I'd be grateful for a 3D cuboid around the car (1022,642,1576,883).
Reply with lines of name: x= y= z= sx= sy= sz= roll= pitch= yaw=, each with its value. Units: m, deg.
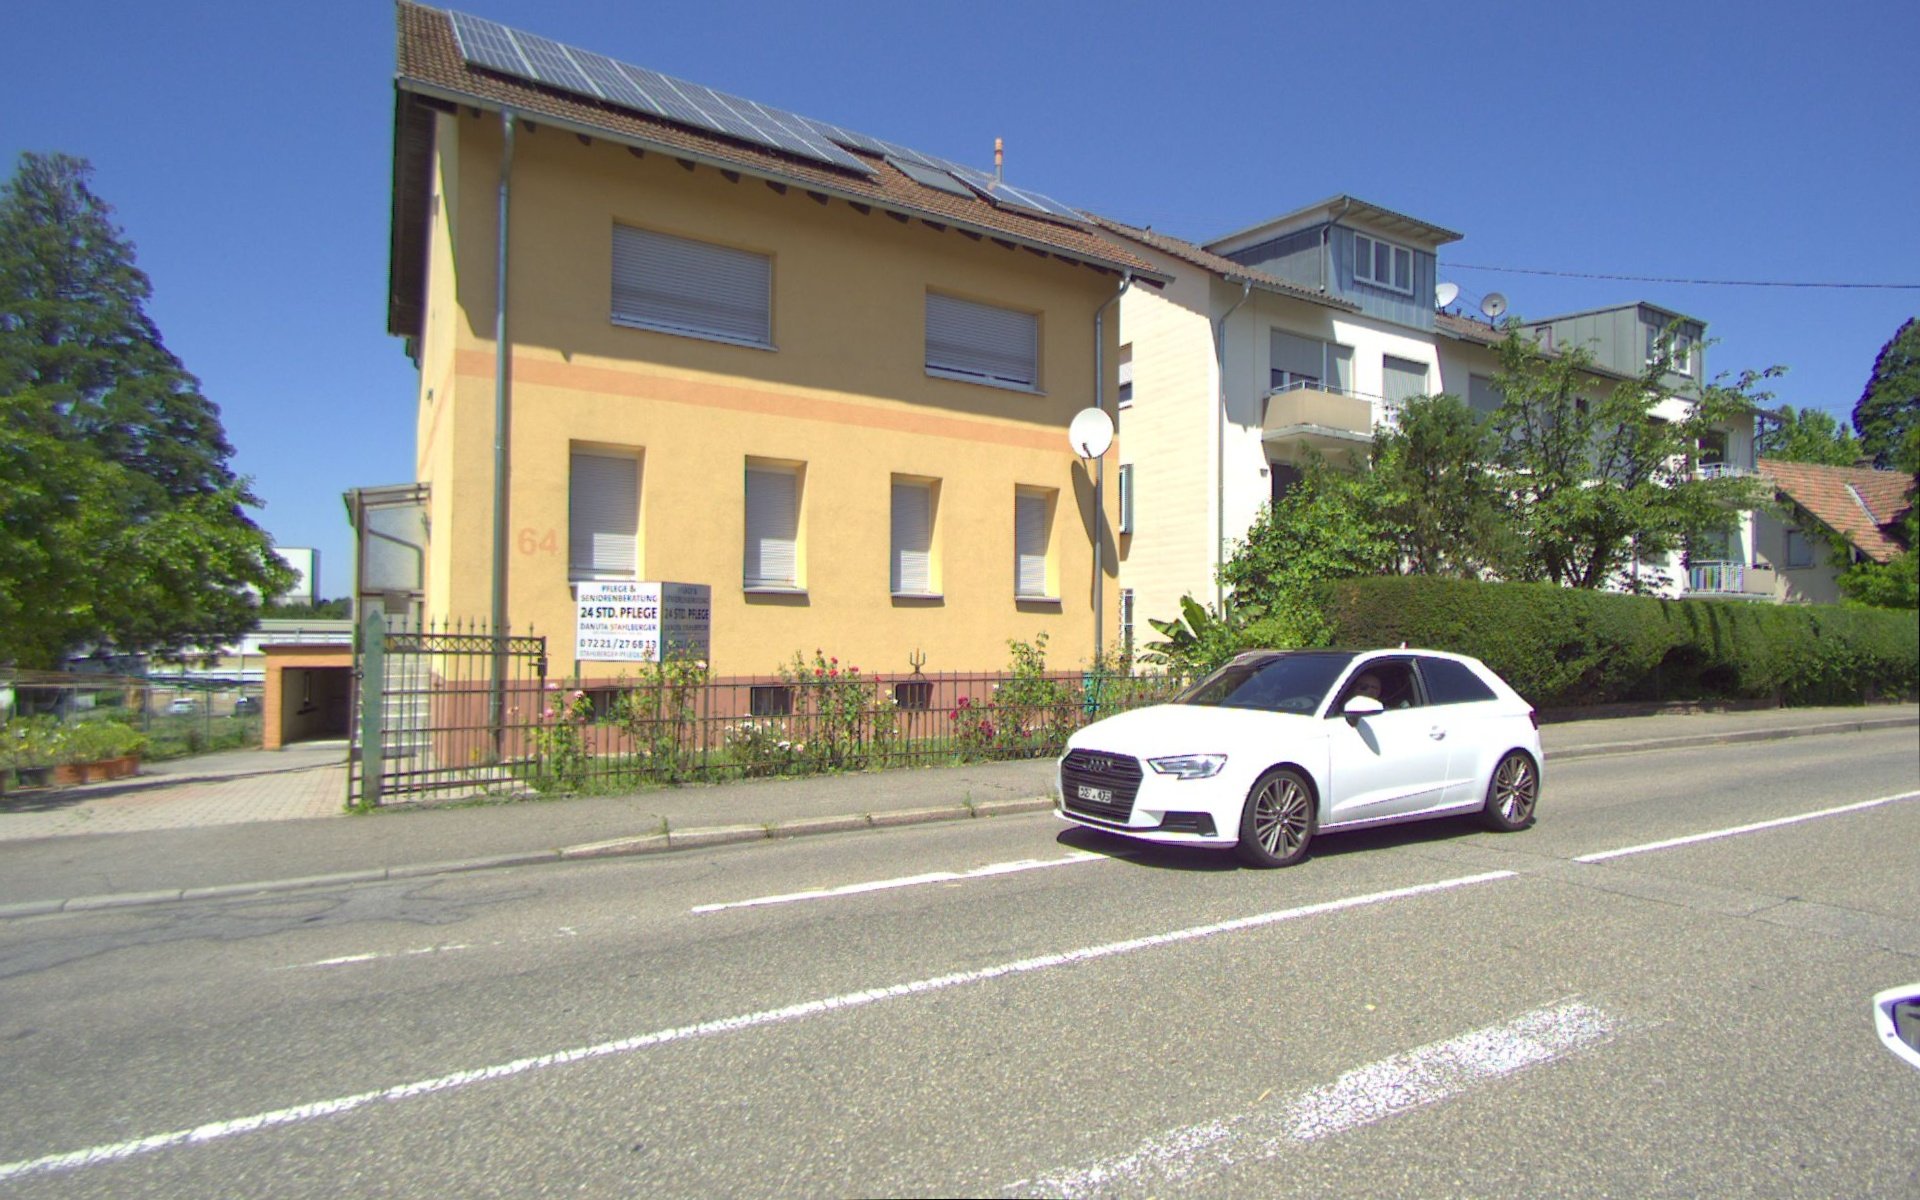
car: x=2.653 y=1.024 z=7.615 sx=4.157 sy=1.390 sz=1.673 roll=1 pitch=-3 yaw=-31
